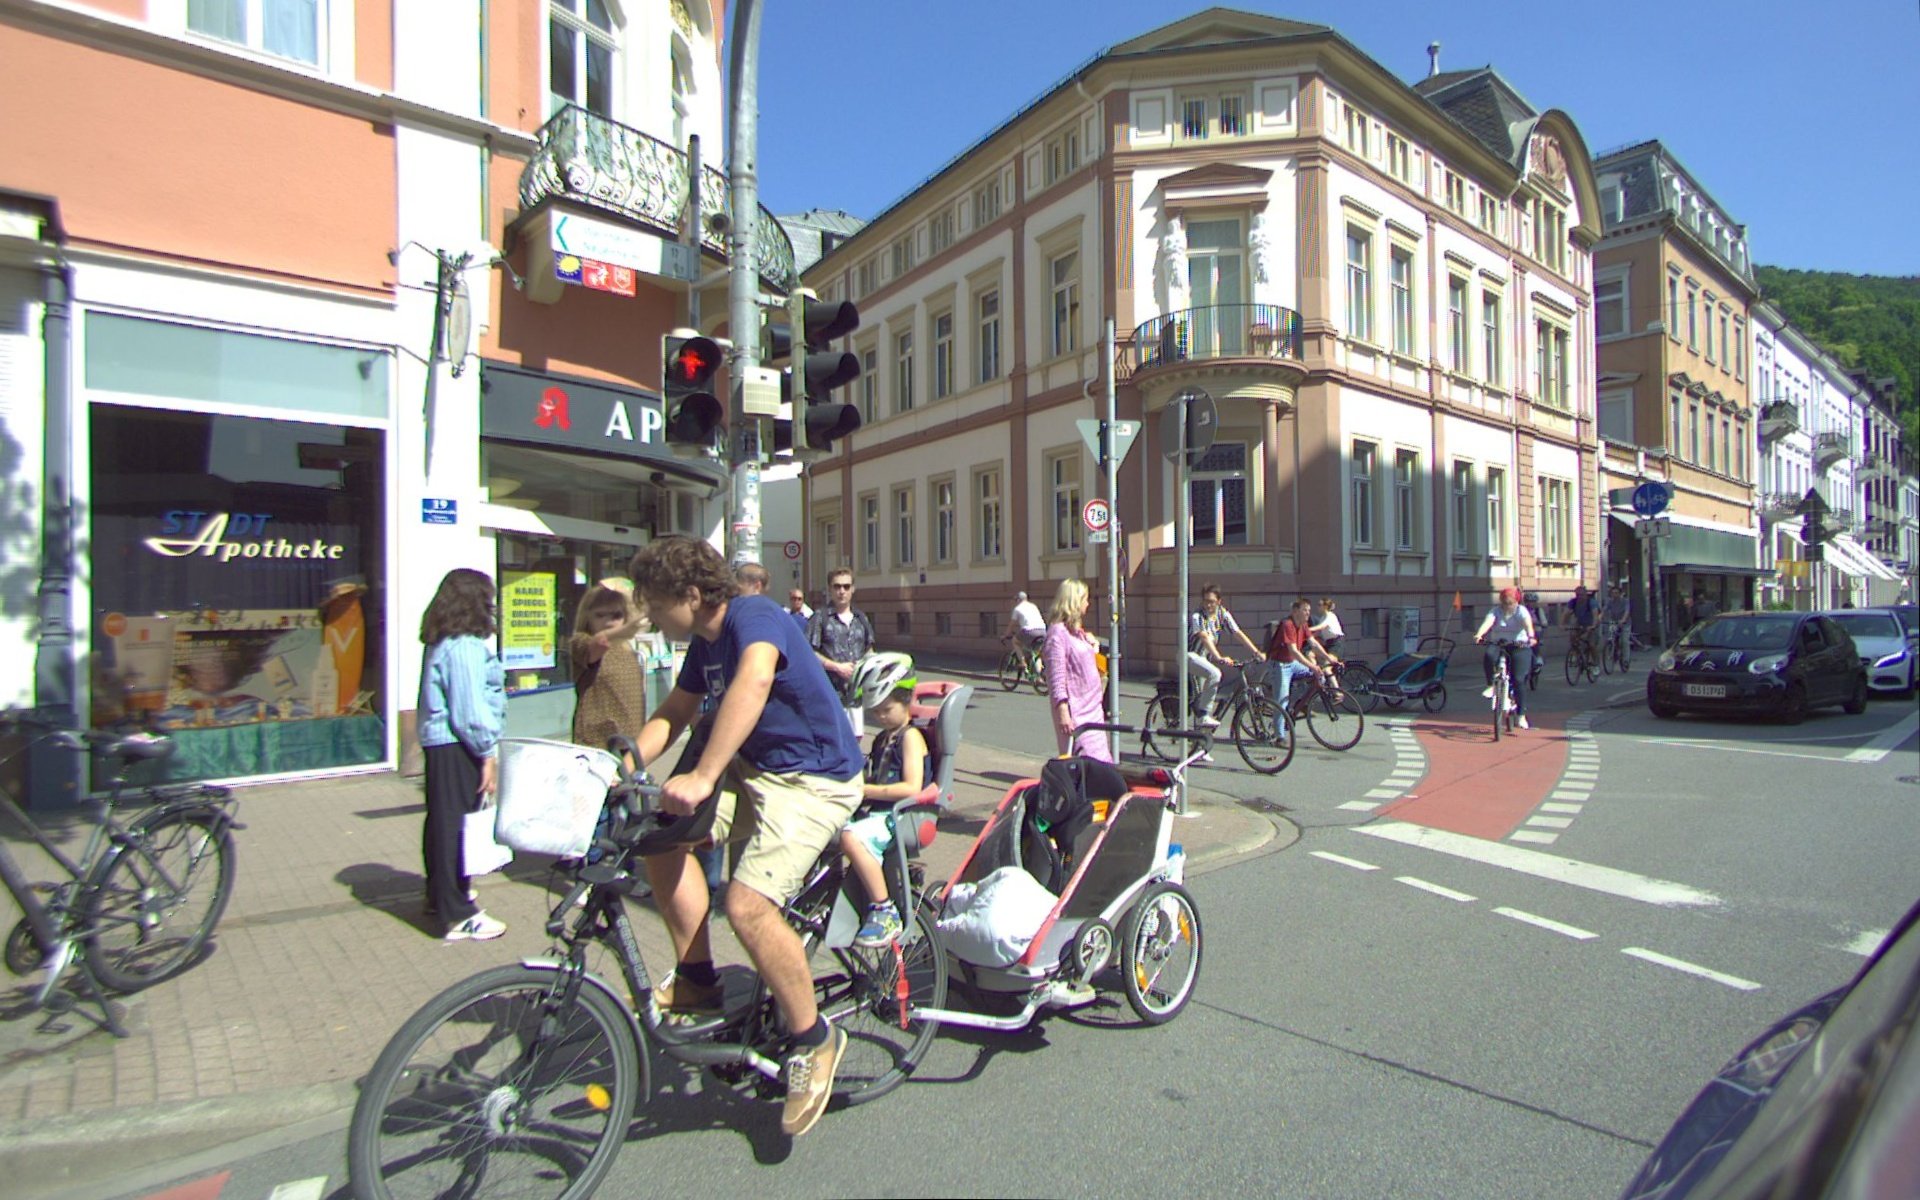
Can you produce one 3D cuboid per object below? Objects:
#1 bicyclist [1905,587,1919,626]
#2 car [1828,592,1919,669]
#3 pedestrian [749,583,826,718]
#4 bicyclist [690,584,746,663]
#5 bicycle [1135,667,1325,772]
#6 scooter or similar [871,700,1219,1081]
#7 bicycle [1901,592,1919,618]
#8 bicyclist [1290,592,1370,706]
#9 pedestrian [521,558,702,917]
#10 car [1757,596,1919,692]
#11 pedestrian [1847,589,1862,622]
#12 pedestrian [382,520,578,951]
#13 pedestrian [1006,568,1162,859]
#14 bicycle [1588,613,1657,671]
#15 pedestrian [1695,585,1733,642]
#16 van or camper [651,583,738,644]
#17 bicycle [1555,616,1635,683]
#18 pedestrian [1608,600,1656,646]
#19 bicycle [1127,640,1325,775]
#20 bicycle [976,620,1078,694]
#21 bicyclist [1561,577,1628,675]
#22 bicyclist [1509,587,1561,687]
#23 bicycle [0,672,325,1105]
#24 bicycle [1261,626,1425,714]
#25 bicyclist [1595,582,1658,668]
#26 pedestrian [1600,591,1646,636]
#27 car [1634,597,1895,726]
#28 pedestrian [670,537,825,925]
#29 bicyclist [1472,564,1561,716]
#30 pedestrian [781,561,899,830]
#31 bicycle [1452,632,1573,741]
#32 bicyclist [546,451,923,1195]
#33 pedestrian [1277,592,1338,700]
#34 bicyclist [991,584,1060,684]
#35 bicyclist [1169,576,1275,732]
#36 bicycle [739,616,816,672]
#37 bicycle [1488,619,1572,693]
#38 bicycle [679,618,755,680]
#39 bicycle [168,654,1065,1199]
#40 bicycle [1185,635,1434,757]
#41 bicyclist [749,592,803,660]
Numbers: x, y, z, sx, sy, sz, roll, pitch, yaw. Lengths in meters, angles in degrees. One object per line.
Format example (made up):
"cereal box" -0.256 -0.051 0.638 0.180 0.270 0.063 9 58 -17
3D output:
"bicyclist" 43.664 0.285 46.129 1.018 1.724 0.747 -1 0 -40
"car" 20.864 0.633 22.415 4.217 1.511 1.888 -2 -2 -42
"pedestrian" -2.239 0.644 13.105 0.774 1.680 0.641 2 -3 -30
"bicyclist" -5.059 0.464 21.135 0.756 1.576 1.226 -2 1 -32
"bicycle" 2.576 1.117 9.852 0.492 0.855 1.825 0 -2 -39
"scooter or similar" 0.344 0.971 3.842 0.783 1.074 1.108 -3 -2 43
"bicycle" 43.498 0.213 45.988 2.528 1.141 0.743 -1 1 -40
"bicyclist" 5.397 0.696 14.762 0.829 1.593 0.747 3 -1 -40
"pedestrian" -1.851 0.667 5.347 0.630 1.712 0.788 1 -3 -43
"car" 15.608 0.691 17.564 4.802 1.443 1.954 0 -2 -42
"pedestrian" 46.331 0.296 52.428 0.853 1.689 0.482 0 -1 -41
"pedestrian" -2.285 0.582 4.794 0.630 1.818 0.788 1 -3 -43
"pedestrian" 0.807 0.667 6.547 0.777 1.730 0.640 -3 2 -43
"bicycle" 13.930 0.851 21.261 1.885 1.132 0.747 0 1 -43
"pedestrian" 24.361 0.416 32.699 0.754 1.814 0.840 -1 0 -40
"van or camper" -9.576 0.418 36.276 1.960 2.039 4.590 -1 1 -29
"bicycle" 11.747 0.889 18.697 1.956 1.132 0.663 0 0 -40
"pedestrian" 20.788 0.700 31.308 0.614 1.332 1.088 0 2 -41
"bicycle" 2.538 0.987 9.867 0.654 1.141 1.845 -1 -1 -36
"bicycle" 1.126 0.951 17.619 0.562 1.141 2.077 1 0 -36
"bicyclist" 11.701 0.458 18.674 0.830 1.739 0.840 -1 0 -40
"bicyclist" 9.761 0.607 17.164 0.829 1.657 0.515 0 0 -40
"bicycle" -3.081 0.855 3.441 0.702 1.205 1.856 0 -4 -3
"bicycle" 5.654 0.973 14.780 3.182 1.141 0.750 1 0 -40
"bicyclist" 13.945 0.502 21.184 0.830 1.739 0.909 -1 0 -40
"pedestrian" 20.183 0.404 30.809 0.614 1.333 1.030 0 -1 -41
"car" 11.075 0.750 13.884 3.658 1.497 1.634 -1 -1 -32
"pedestrian" -1.076 0.618 5.127 0.597 1.818 0.452 1 -3 -43
"bicyclist" 6.678 0.462 12.135 0.682 1.739 0.831 -3 -2 44
"pedestrian" -0.896 0.666 7.476 0.602 1.867 0.641 -1 -2 -29
"bicycle" 6.621 0.978 12.076 0.735 1.141 2.001 -2 -2 44
"bicyclist" -0.633 0.500 2.837 0.762 1.694 0.731 -1 0 -44
"pedestrian" 5.610 0.710 16.314 0.892 1.631 0.970 -1 3 21
"bicyclist" 1.135 0.567 17.621 0.562 1.683 1.158 1 0 -36
"bicyclist" 2.523 0.493 9.769 0.492 1.429 0.860 0 -1 -39
"bicycle" -4.029 0.934 22.140 0.757 1.141 2.575 1 -1 -32
"bicycle" 9.631 0.911 17.068 1.826 1.141 0.607 0 1 -40
"bicycle" -5.142 0.995 21.301 0.756 1.141 2.575 -2 1 -32
"bicycle" -0.717 0.821 2.796 2.244 1.285 0.732 1 -3 -44
"bicycle" 3.714 0.973 11.016 0.618 1.141 2.566 1 -1 -44
"bicyclist" -4.028 0.558 22.148 0.757 1.449 1.261 1 -1 -32
